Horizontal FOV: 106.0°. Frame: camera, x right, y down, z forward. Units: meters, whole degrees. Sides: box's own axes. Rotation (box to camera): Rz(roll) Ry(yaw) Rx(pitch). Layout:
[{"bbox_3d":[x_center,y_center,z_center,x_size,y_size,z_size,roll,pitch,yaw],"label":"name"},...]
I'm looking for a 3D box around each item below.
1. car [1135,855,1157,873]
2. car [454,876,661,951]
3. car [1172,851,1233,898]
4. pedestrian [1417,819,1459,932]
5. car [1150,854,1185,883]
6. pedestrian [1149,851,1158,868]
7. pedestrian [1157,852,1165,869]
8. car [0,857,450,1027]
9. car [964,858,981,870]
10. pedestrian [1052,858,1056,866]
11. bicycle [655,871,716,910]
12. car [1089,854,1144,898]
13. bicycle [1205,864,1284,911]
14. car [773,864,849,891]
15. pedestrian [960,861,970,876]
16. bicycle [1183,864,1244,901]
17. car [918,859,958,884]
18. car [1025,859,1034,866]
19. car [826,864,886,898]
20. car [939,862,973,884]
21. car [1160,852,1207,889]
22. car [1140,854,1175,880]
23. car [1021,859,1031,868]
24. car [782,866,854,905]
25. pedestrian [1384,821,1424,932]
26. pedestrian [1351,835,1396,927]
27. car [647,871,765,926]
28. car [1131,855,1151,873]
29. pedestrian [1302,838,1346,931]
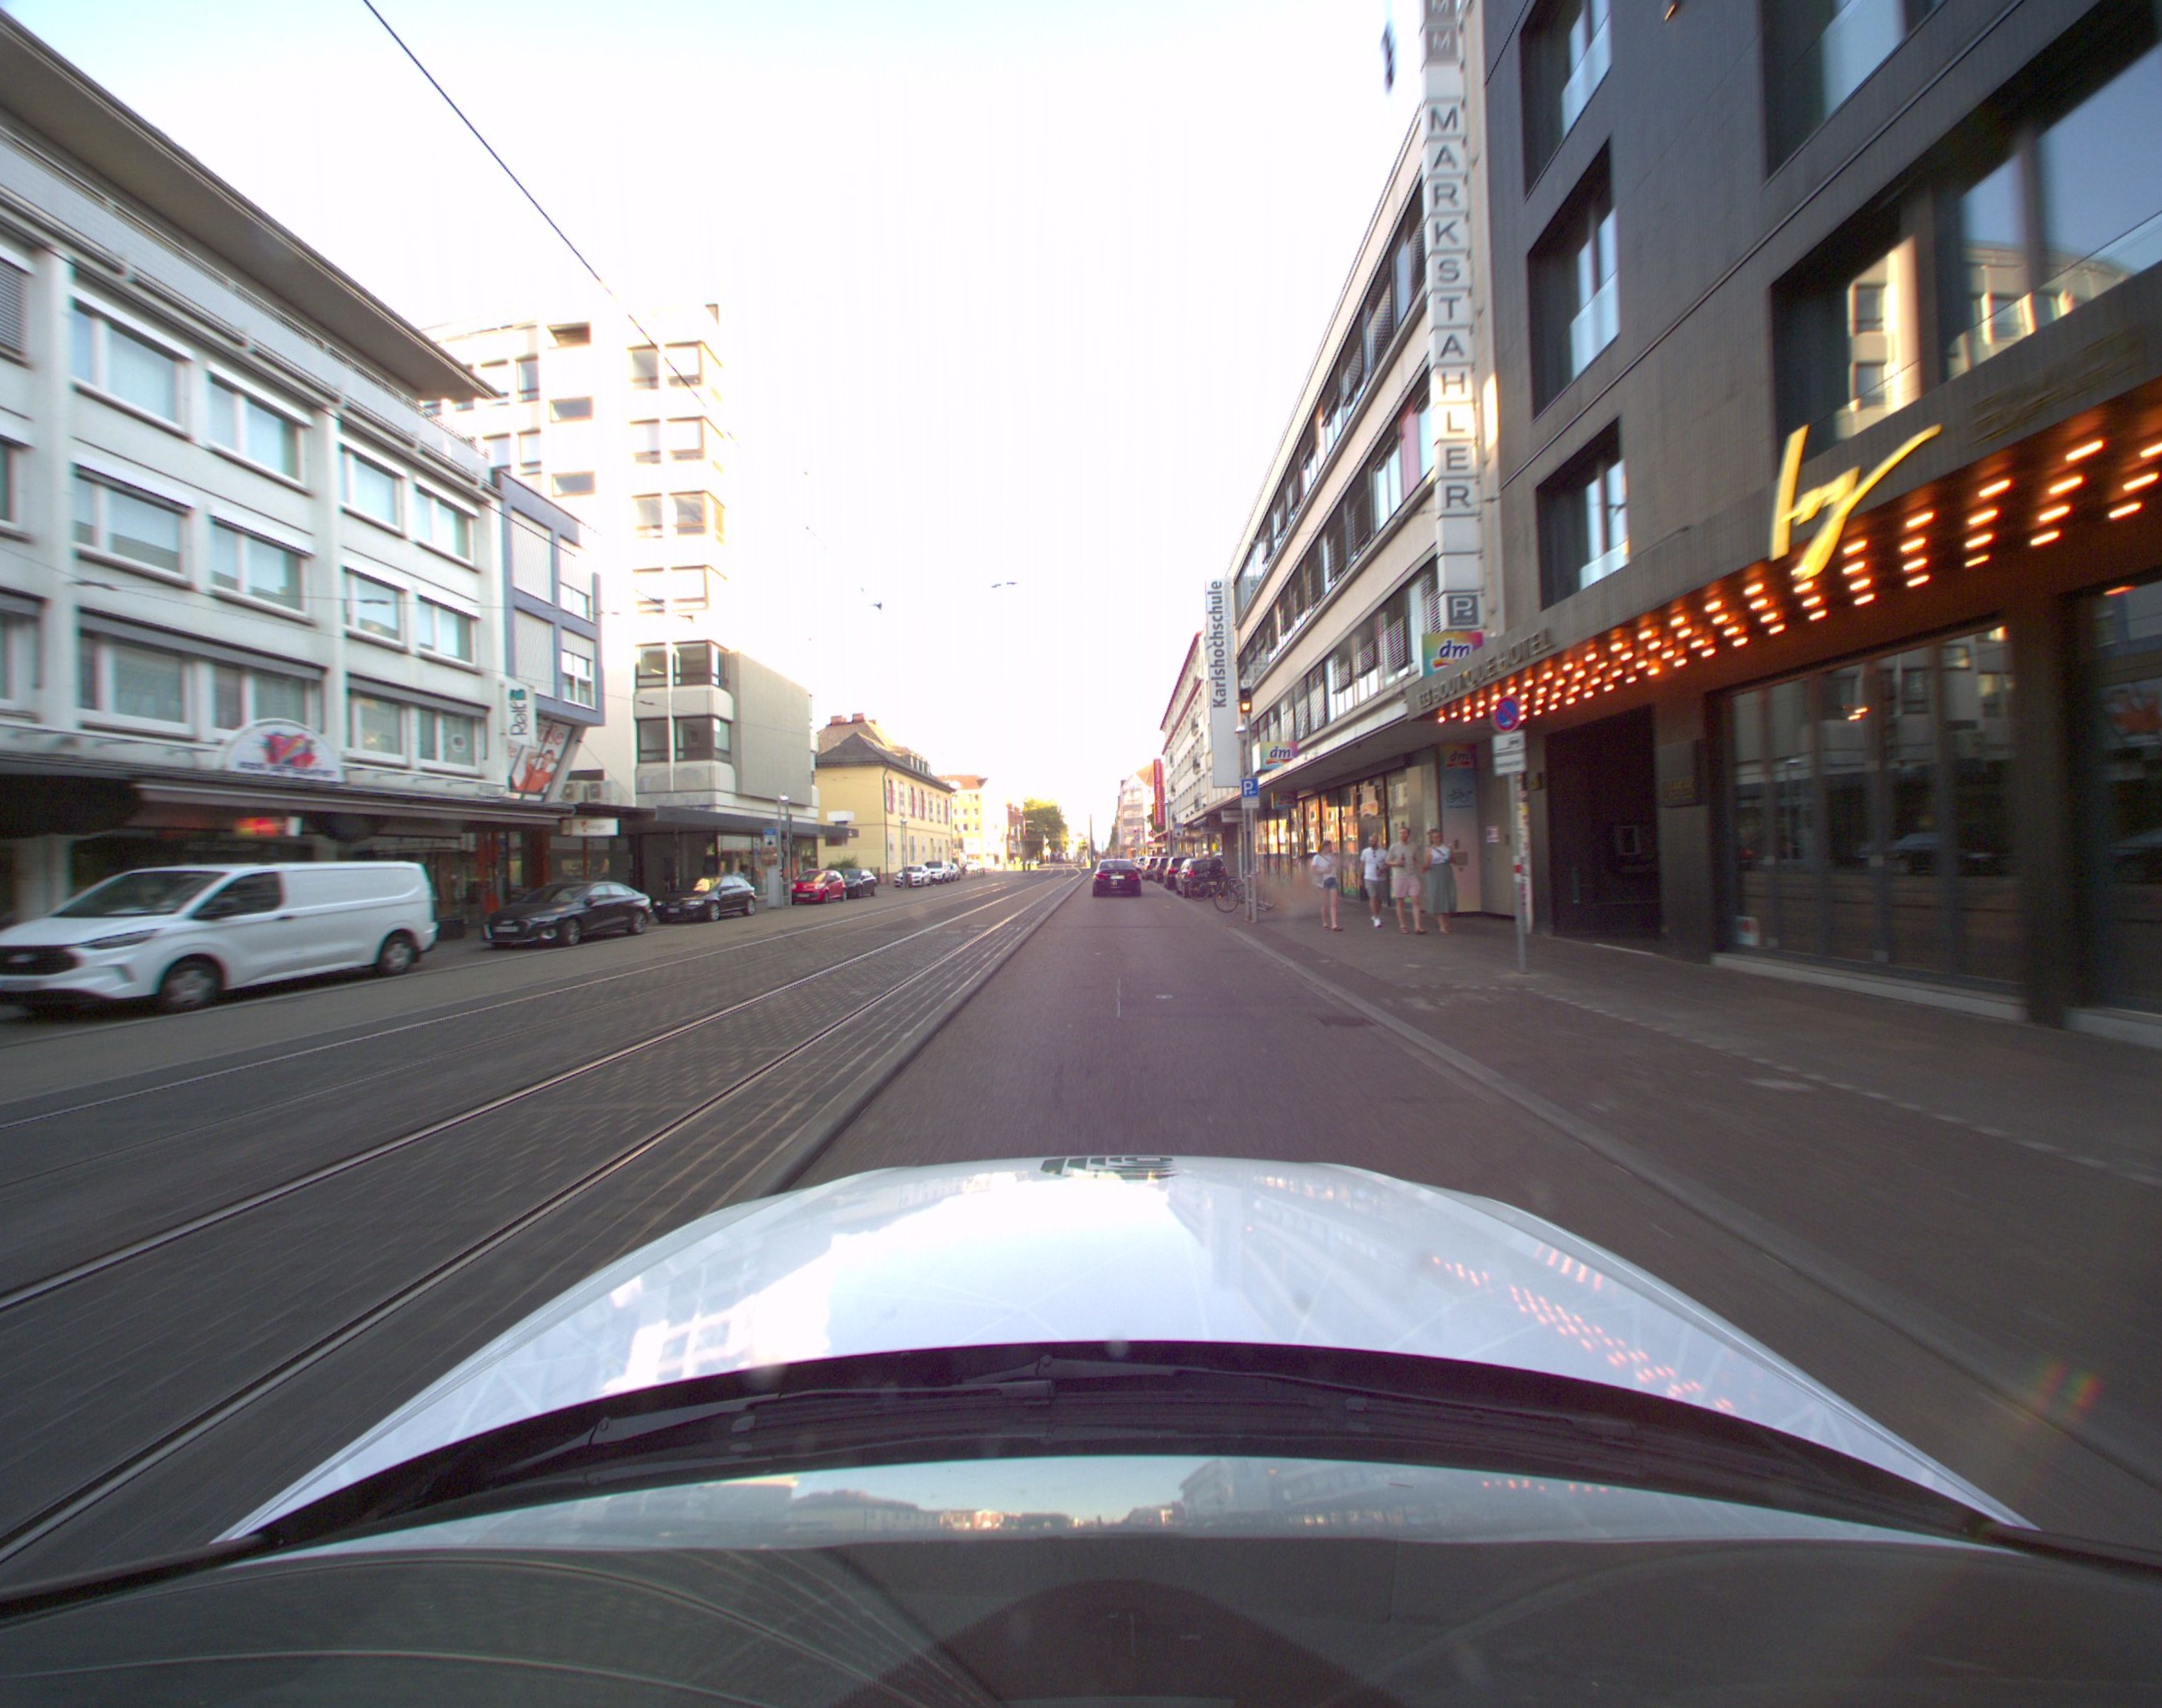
[{"bbox_3d":[5.822,0.867,73.314,1.778,1.512,4.054,-3,0,2],"label":"car"},{"bbox_3d":[-12.383,1.332,19.707,1.986,1.466,4.559,-1,0,1],"label":"car"},{"bbox_3d":[4.505,0.725,30.637,1.737,1.512,4.260,-3,0,2],"label":"car"},{"bbox_3d":[6.136,0.368,14.008,0.450,1.899,0.421,-2,0,1],"label":"pedestrian"},{"bbox_3d":[4.956,0.814,46.988,1.679,1.512,4.037,-3,0,2],"label":"car"},{"bbox_3d":[7.771,0.601,86.985,0.824,1.718,0.843,-3,-1,2],"label":"pedestrian"},{"bbox_3d":[8.386,0.649,85.576,0.726,1.741,0.863,-3,-1,2],"label":"pedestrian"},{"bbox_3d":[-12.585,1.075,12.293,1.948,1.977,5.163,-2,0,1],"label":"car"},{"bbox_3d":[-14.889,1.376,112.084,1.801,1.512,4.033,-2,0,-1],"label":"car"},{"bbox_3d":[-6.956,2.013,213.152,0.984,2.014,0.726,0,-1,0],"label":"pedestrian"},{"bbox_3d":[-15.737,1.442,32.427,1.962,1.426,0.834,-2,0,0],"label":"bicycle"},{"bbox_3d":[1.403,0.823,32.400,1.986,1.585,4.001,-2,0,2],"label":"car"},{"bbox_3d":[4.286,0.875,21.435,1.880,1.077,0.676,-4,0,-2],"label":"bicycle"},{"bbox_3d":[-16.745,1.469,50.644,3.970,1.467,1.848,-2,0,3],"label":"car"},{"bbox_3d":[-12.560,1.516,88.325,0.950,1.584,0.732,-2,-1,-6],"label":"pedestrian"},{"bbox_3d":[4.423,0.949,27.192,1.880,1.138,0.676,-2,0,-1],"label":"bicycle"},{"bbox_3d":[-10.696,1.283,61.095,1.804,1.786,4.504,1,0,5],"label":"car"},{"bbox_3d":[-12.540,2.161,198.894,1.987,1.585,4.585,-2,0,-1],"label":"car"},{"bbox_3d":[-11.350,1.325,41.377,1.679,1.512,4.217,-2,0,2],"label":"car"},{"bbox_3d":[-10.189,1.511,66.449,1.804,1.617,4.219,-2,0,4],"label":"car"},{"bbox_3d":[4.669,0.739,37.681,1.714,1.512,4.169,-3,0,2],"label":"car"},{"bbox_3d":[4.893,0.816,52.632,1.784,1.512,4.712,-3,0,1],"label":"car"},{"bbox_3d":[-12.790,2.221,190.664,1.988,1.901,4.809,-2,0,-1],"label":"car"},{"bbox_3d":[-11.641,1.361,36.332,1.679,1.512,4.217,-2,0,2],"label":"car"},{"bbox_3d":[5.639,0.389,14.238,0.453,1.899,0.421,-2,0,1],"label":"pedestrian"},{"bbox_3d":[5.718,0.519,15.965,0.606,1.753,0.605,-2,0,1],"label":"pedestrian"},{"bbox_3d":[-12.040,1.370,26.465,1.680,1.512,4.446,-1,0,1],"label":"car"},{"bbox_3d":[5.794,0.943,78.691,1.728,1.512,4.688,-3,0,2],"label":"car"},{"bbox_3d":[4.688,0.576,15.715,0.602,1.727,0.646,-2,0,1],"label":"pedestrian"}]
